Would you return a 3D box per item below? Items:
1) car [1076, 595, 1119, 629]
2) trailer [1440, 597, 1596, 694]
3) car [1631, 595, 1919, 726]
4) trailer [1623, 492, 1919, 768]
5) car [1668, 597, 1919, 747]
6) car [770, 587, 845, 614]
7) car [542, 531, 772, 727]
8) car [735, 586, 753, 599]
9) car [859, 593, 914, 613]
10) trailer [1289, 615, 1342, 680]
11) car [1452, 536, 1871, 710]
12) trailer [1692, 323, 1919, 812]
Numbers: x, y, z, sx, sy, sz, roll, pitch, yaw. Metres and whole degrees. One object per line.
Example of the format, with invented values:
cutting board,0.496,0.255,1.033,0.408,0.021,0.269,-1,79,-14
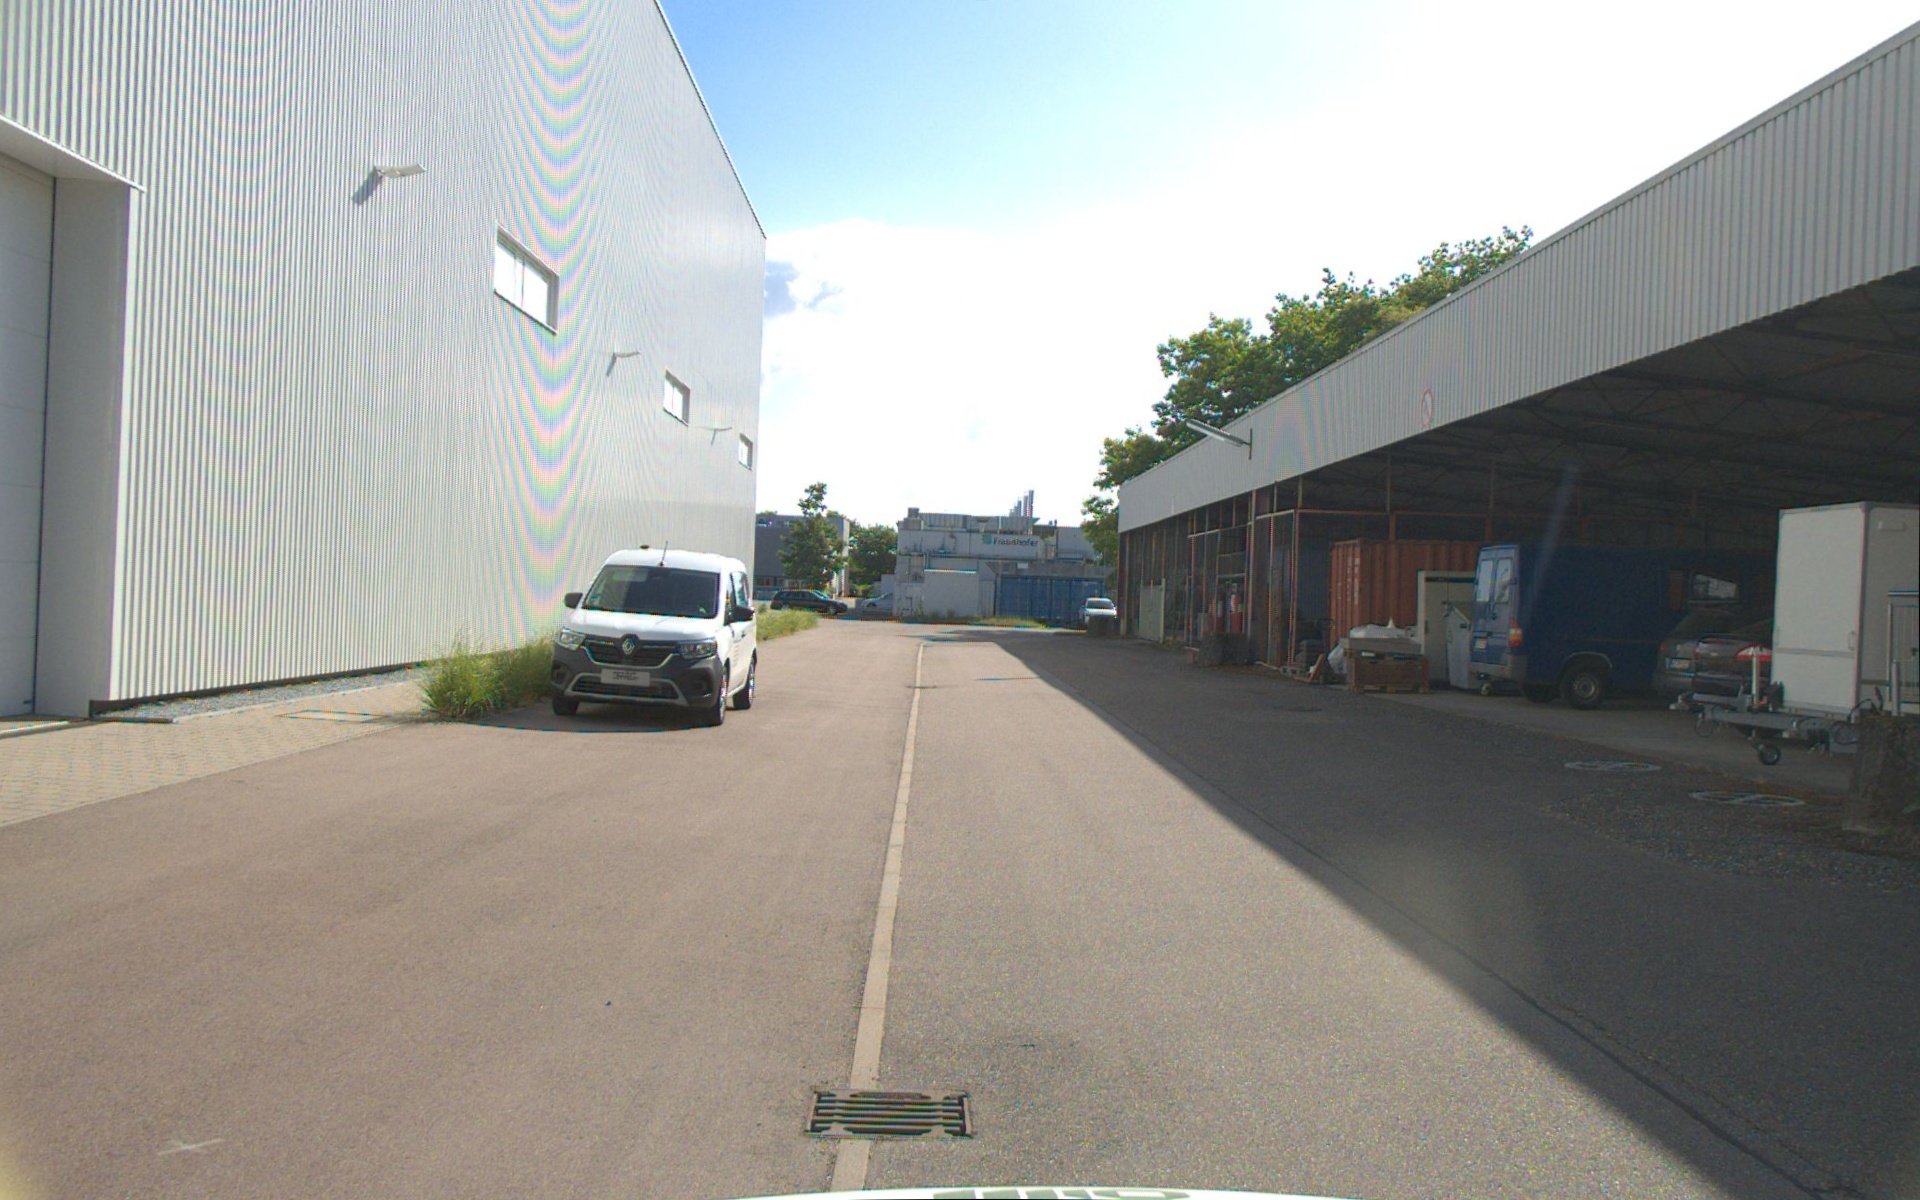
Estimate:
car,7.319,0.621,88.483,1.939,1.630,4.378,1,1,0
trailer,9.010,0.710,26.841,1.996,1.492,1.739,0,0,3
car,10.889,0.763,21.118,3.886,1.540,1.838,1,0,-4
trailer,8.806,0.279,15.428,4.424,2.383,2.047,0,0,0
car,10.196,0.767,18.016,4.164,1.497,1.868,1,0,-4
car,-9.256,0.060,100.545,4.358,1.558,1.823,1,0,-2
car,-3.273,0.302,18.730,1.747,1.847,4.600,3,0,-1
car,-25.507,-0.880,195.500,1.821,1.521,4.027,0,0,-3
car,-5.673,0.243,128.527,4.216,1.483,1.823,1,0,-2
trailer,6.410,0.841,29.888,0.541,1.138,1.546,0,0,-3
car,10.169,0.337,24.256,5.225,2.321,2.152,1,-1,-2
trailer,11.382,-0.193,12.993,10.059,3.401,2.801,0,0,-1
